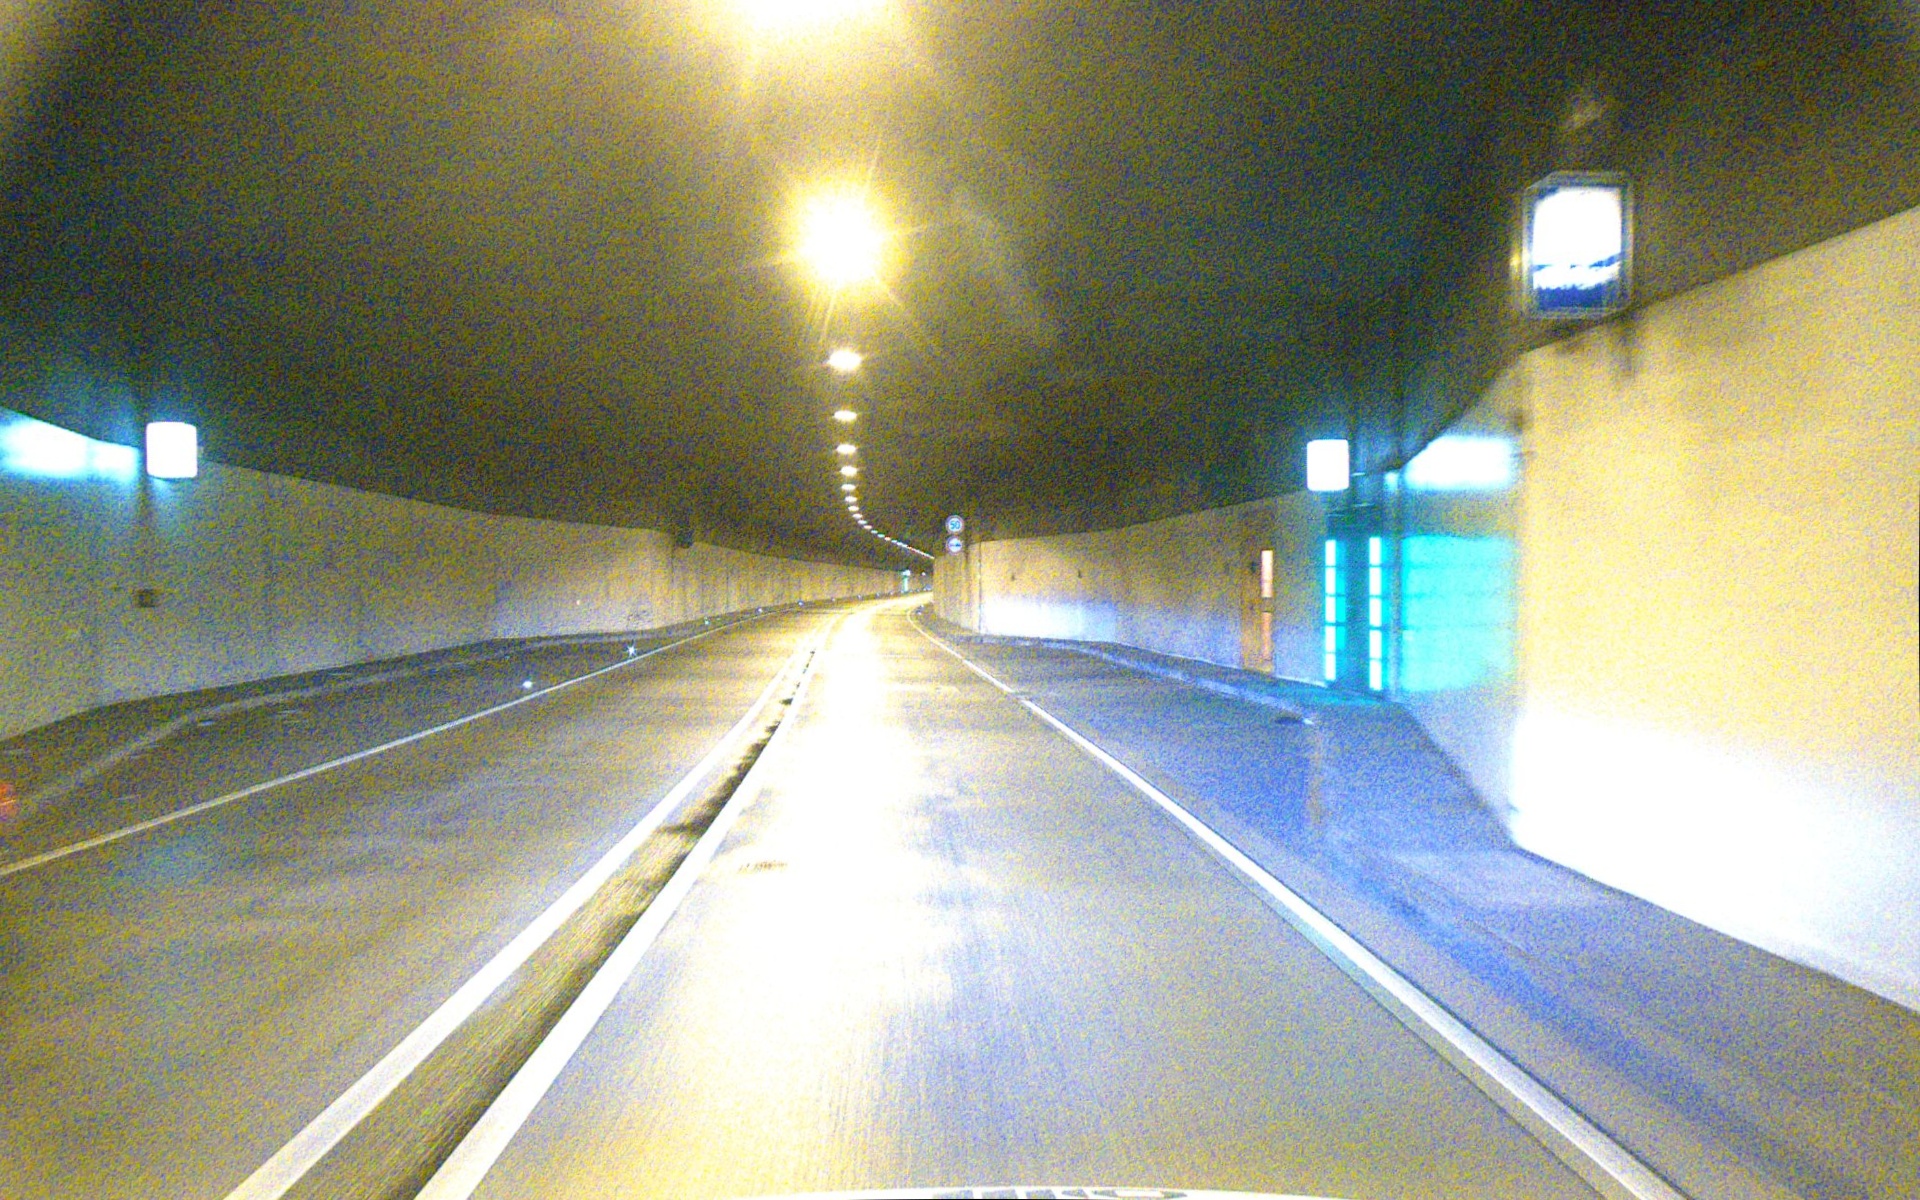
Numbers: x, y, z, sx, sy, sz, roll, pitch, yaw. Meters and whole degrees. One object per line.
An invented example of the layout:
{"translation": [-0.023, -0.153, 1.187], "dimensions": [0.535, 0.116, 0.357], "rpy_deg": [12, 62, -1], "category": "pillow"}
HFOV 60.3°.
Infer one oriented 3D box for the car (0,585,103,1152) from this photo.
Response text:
{"translation": [-3.246, 0.734, 2.656], "dimensions": [1.673, 1.440, 4.116], "rpy_deg": [-1, 1, -2], "category": "car"}
